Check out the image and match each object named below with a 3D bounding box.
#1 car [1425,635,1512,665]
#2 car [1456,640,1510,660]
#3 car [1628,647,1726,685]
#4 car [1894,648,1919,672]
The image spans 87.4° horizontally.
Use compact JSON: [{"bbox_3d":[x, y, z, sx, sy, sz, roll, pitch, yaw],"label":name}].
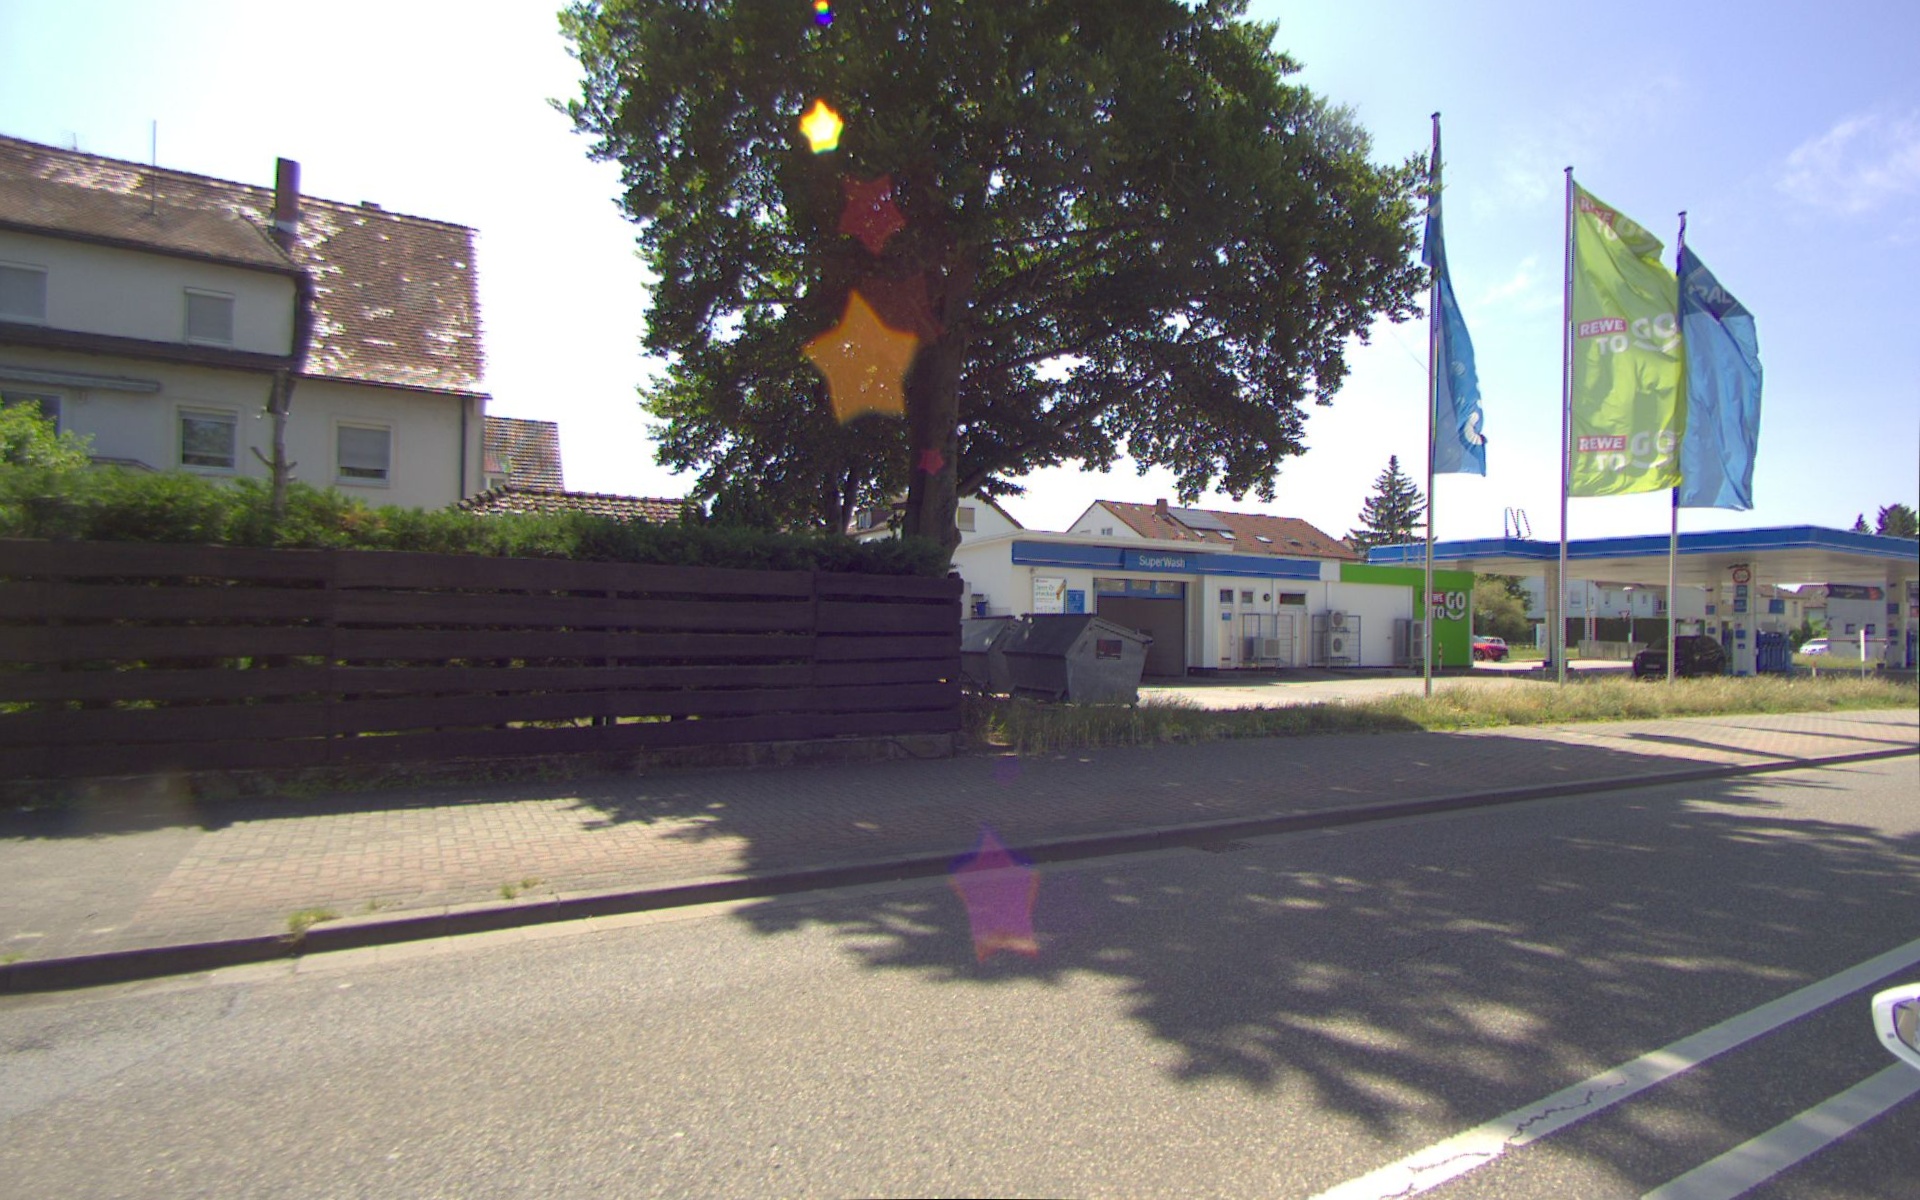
[{"bbox_3d":[28.101,2.727,55.600,1.659,1.556,3.959,2,-2,-36],"label":"car"},{"bbox_3d":[39.858,3.815,76.498,3.948,1.500,1.664,2,-2,-27],"label":"car"},{"bbox_3d":[28.605,2.611,40.050,3.952,1.400,1.663,2,-2,-29],"label":"car"},{"bbox_3d":[57.699,3.599,60.237,3.672,1.438,1.608,2,-4,-34],"label":"car"}]
